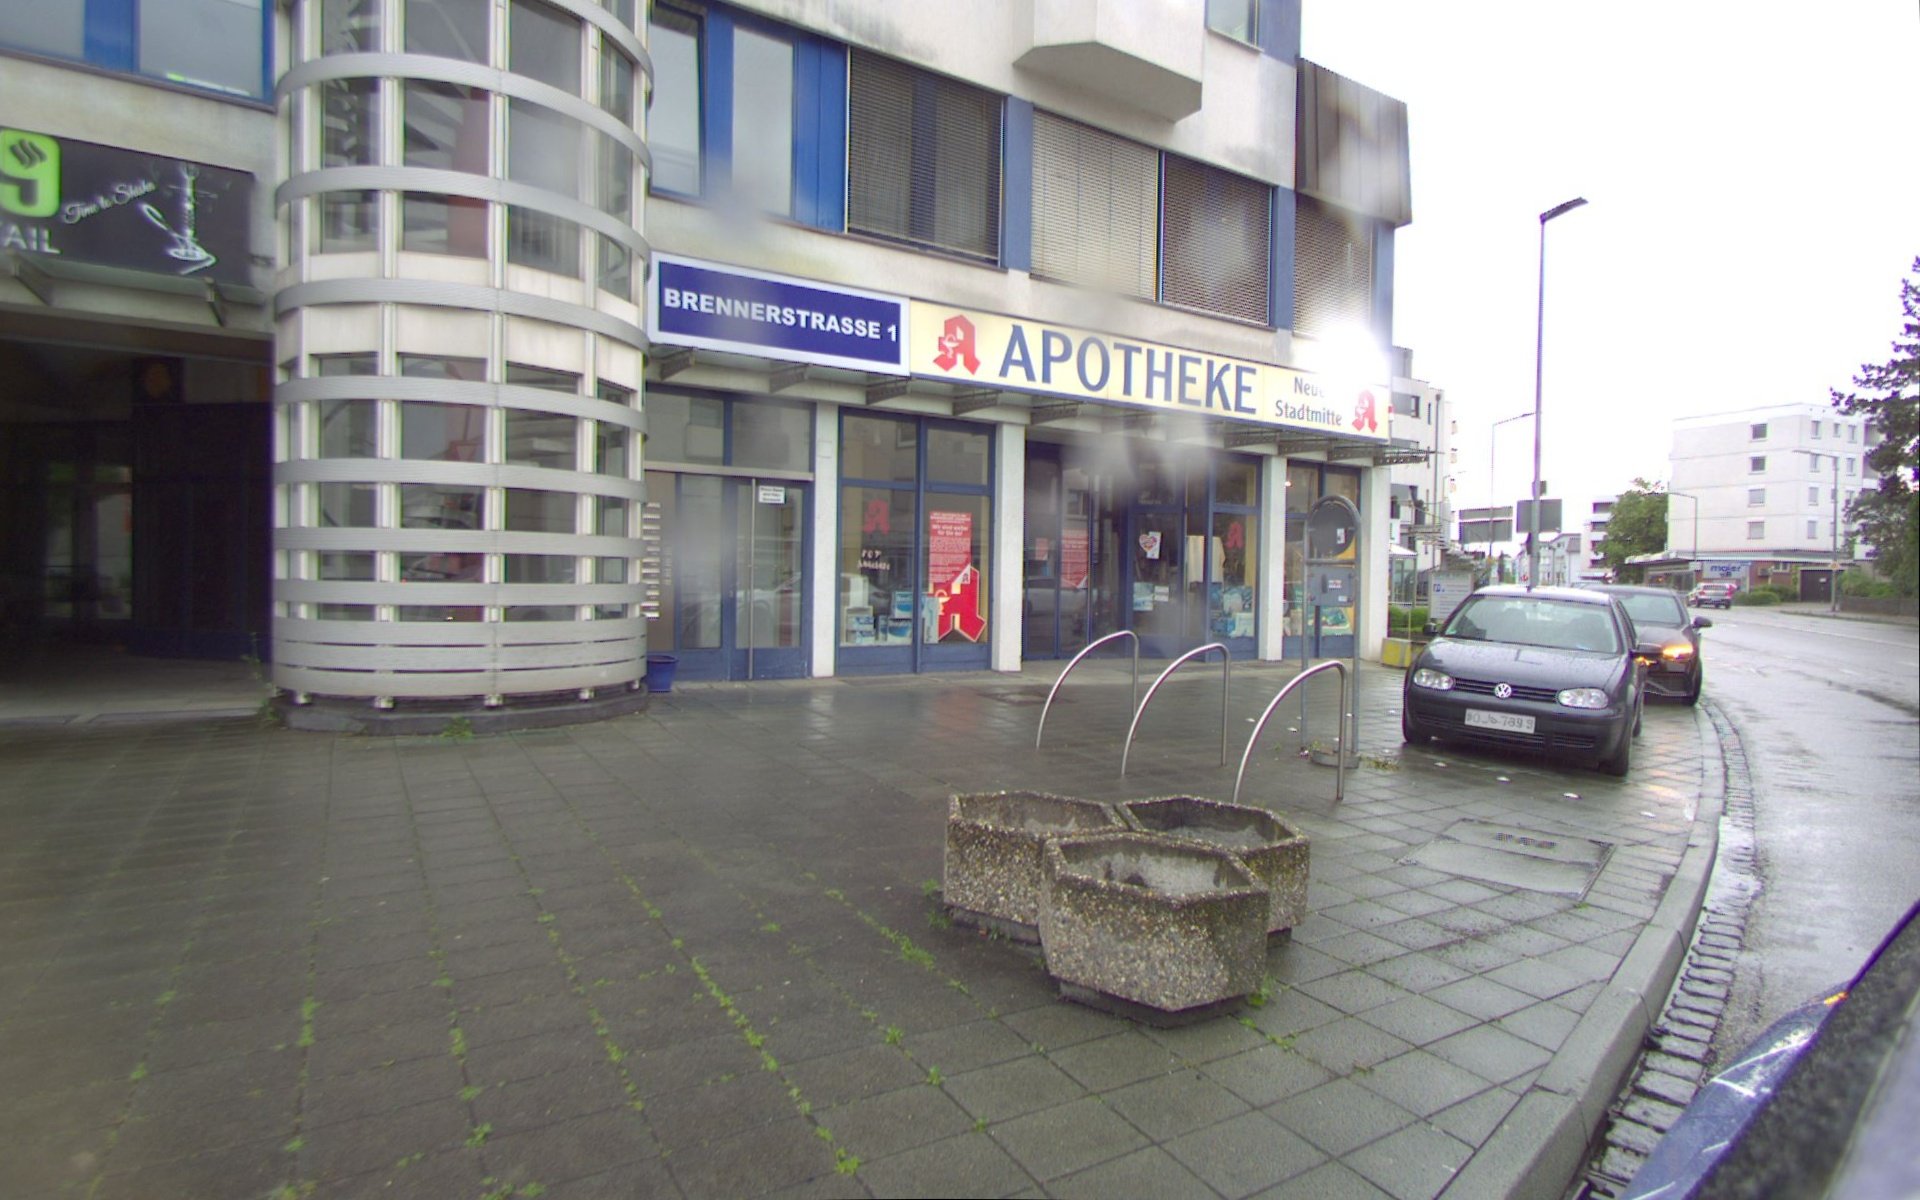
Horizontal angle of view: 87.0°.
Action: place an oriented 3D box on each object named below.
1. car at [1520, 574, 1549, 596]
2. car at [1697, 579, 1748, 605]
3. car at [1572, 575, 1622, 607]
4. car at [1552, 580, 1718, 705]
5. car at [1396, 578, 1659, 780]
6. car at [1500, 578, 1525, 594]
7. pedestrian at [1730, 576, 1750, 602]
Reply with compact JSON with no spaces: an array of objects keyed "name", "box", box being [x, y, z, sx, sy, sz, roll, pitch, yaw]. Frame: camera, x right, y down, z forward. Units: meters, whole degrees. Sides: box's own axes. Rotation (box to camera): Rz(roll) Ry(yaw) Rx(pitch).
[{"name":"car","box":[43.342,-1.139,76.383,1.718,1.547,4.024,2,1,27]},{"name":"car","box":[45.680,-0.495,60.712,1.855,1.454,3.704,2,2,28]},{"name":"car","box":[31.086,-0.462,49.497,1.719,1.462,4.009,1,2,28]},{"name":"car","box":[9.357,0.459,13.962,1.650,1.442,3.948,2,2,36]},{"name":"car","box":[5.379,0.541,9.361,1.646,1.388,3.683,5,3,36]},{"name":"car","box":[52.677,-1.359,96.528,1.783,1.385,3.941,1,3,25]},{"name":"pedestrian","box":[54.376,-0.774,70.539,0.845,1.757,0.831,1,2,20]}]
